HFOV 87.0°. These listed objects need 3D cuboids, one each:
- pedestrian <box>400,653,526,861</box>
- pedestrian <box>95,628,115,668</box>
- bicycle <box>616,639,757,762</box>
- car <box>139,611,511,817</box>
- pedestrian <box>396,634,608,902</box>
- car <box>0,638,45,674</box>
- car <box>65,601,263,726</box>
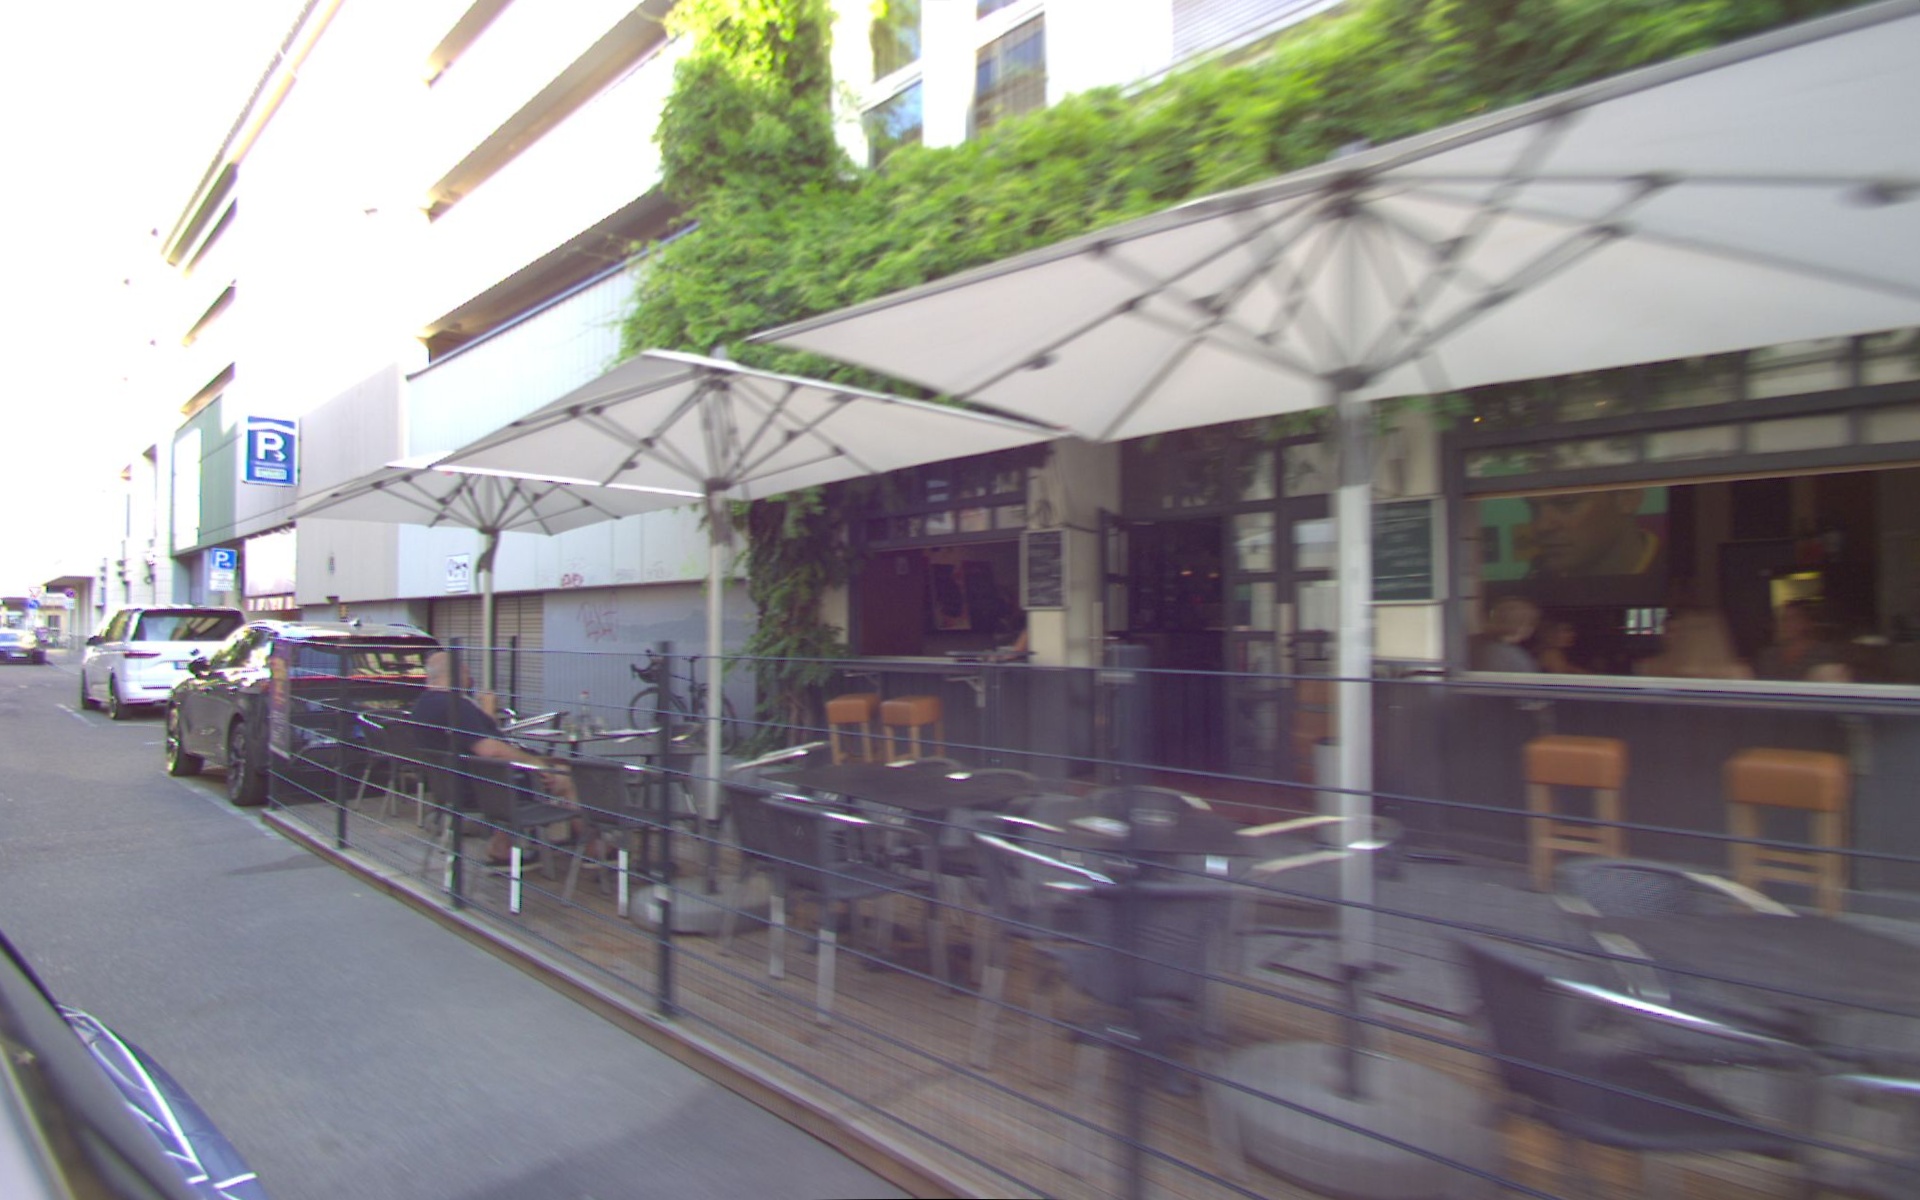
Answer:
[{"bbox_3d":[-3.046,0.925,6.258,0.544,1.174,0.743,0,-2,-14],"label":"pedestrian"},{"bbox_3d":[-35.808,2.012,42.386,0.565,1.638,0.611,-2,-2,44],"label":"pedestrian"},{"bbox_3d":[-2.921,1.008,10.704,0.635,1.169,1.795,0,-2,-45],"label":"bicycle"},{"bbox_3d":[-6.482,0.980,10.076,4.770,1.580,1.861,-2,-4,42],"label":"car"},{"bbox_3d":[-2.509,0.838,5.540,0.916,1.297,0.772,-2,-3,44],"label":"pedestrian"},{"bbox_3d":[-41.763,2.457,44.668,1.970,1.428,4.563,3,-3,-43],"label":"car"},{"bbox_3d":[-14.459,1.096,18.279,4.849,1.955,1.972,-2,-4,42],"label":"car"}]
